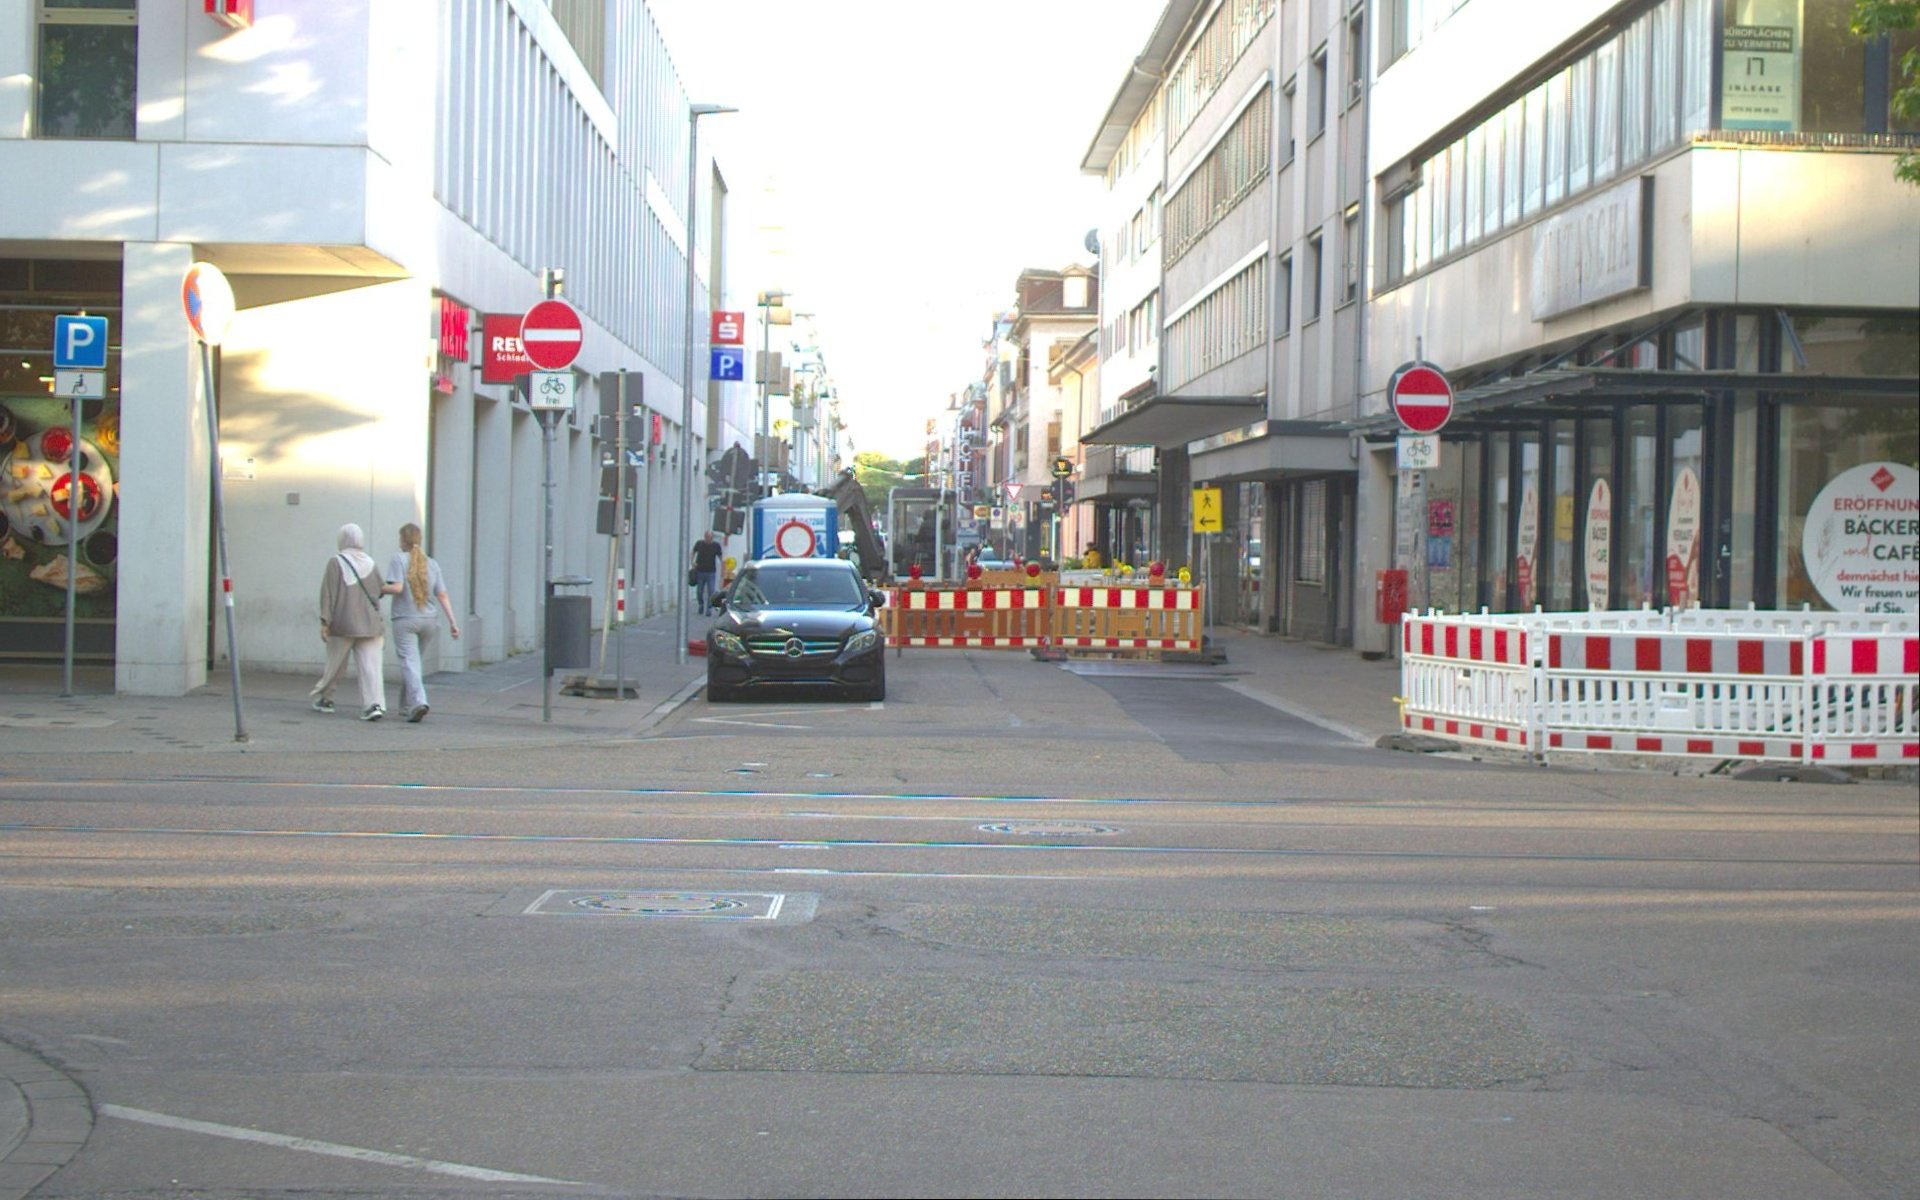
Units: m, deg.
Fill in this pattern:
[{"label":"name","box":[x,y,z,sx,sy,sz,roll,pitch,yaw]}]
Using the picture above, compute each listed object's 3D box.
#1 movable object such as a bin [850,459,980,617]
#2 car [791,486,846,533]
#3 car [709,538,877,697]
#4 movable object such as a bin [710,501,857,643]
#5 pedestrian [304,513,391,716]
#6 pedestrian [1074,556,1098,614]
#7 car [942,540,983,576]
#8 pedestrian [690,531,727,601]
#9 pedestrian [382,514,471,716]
[{"label":"movable object such as a bin","box":[-0.812,-1.088,60.718,2.156,2.654,4.573,1,1,-1]},{"label":"car","box":[-5.341,-3.416,130.242,1.993,1.770,4.000,0,1,-1]},{"label":"car","box":[-1.762,0.147,35.512,1.629,1.545,3.143,0,1,-4]},{"label":"movable object such as a bin","box":[-2.562,-0.436,50.777,1.993,2.007,4.000,0,1,-1]},{"label":"pedestrian","box":[-4.979,0.108,27.922,0.609,1.622,0.873,0,1,-16]},{"label":"pedestrian","box":[3.203,-0.394,87.424,0.524,1.459,0.718,1,1,7]},{"label":"car","box":[0.102,-2.159,174.705,1.993,1.770,4.000,0,1,-1]},{"label":"pedestrian","box":[-5.228,-0.707,71.403,0.716,1.459,0.525,0,1,1]},{"label":"pedestrian","box":[-4.364,0.109,28.096,0.609,1.622,0.873,0,1,-16]}]
